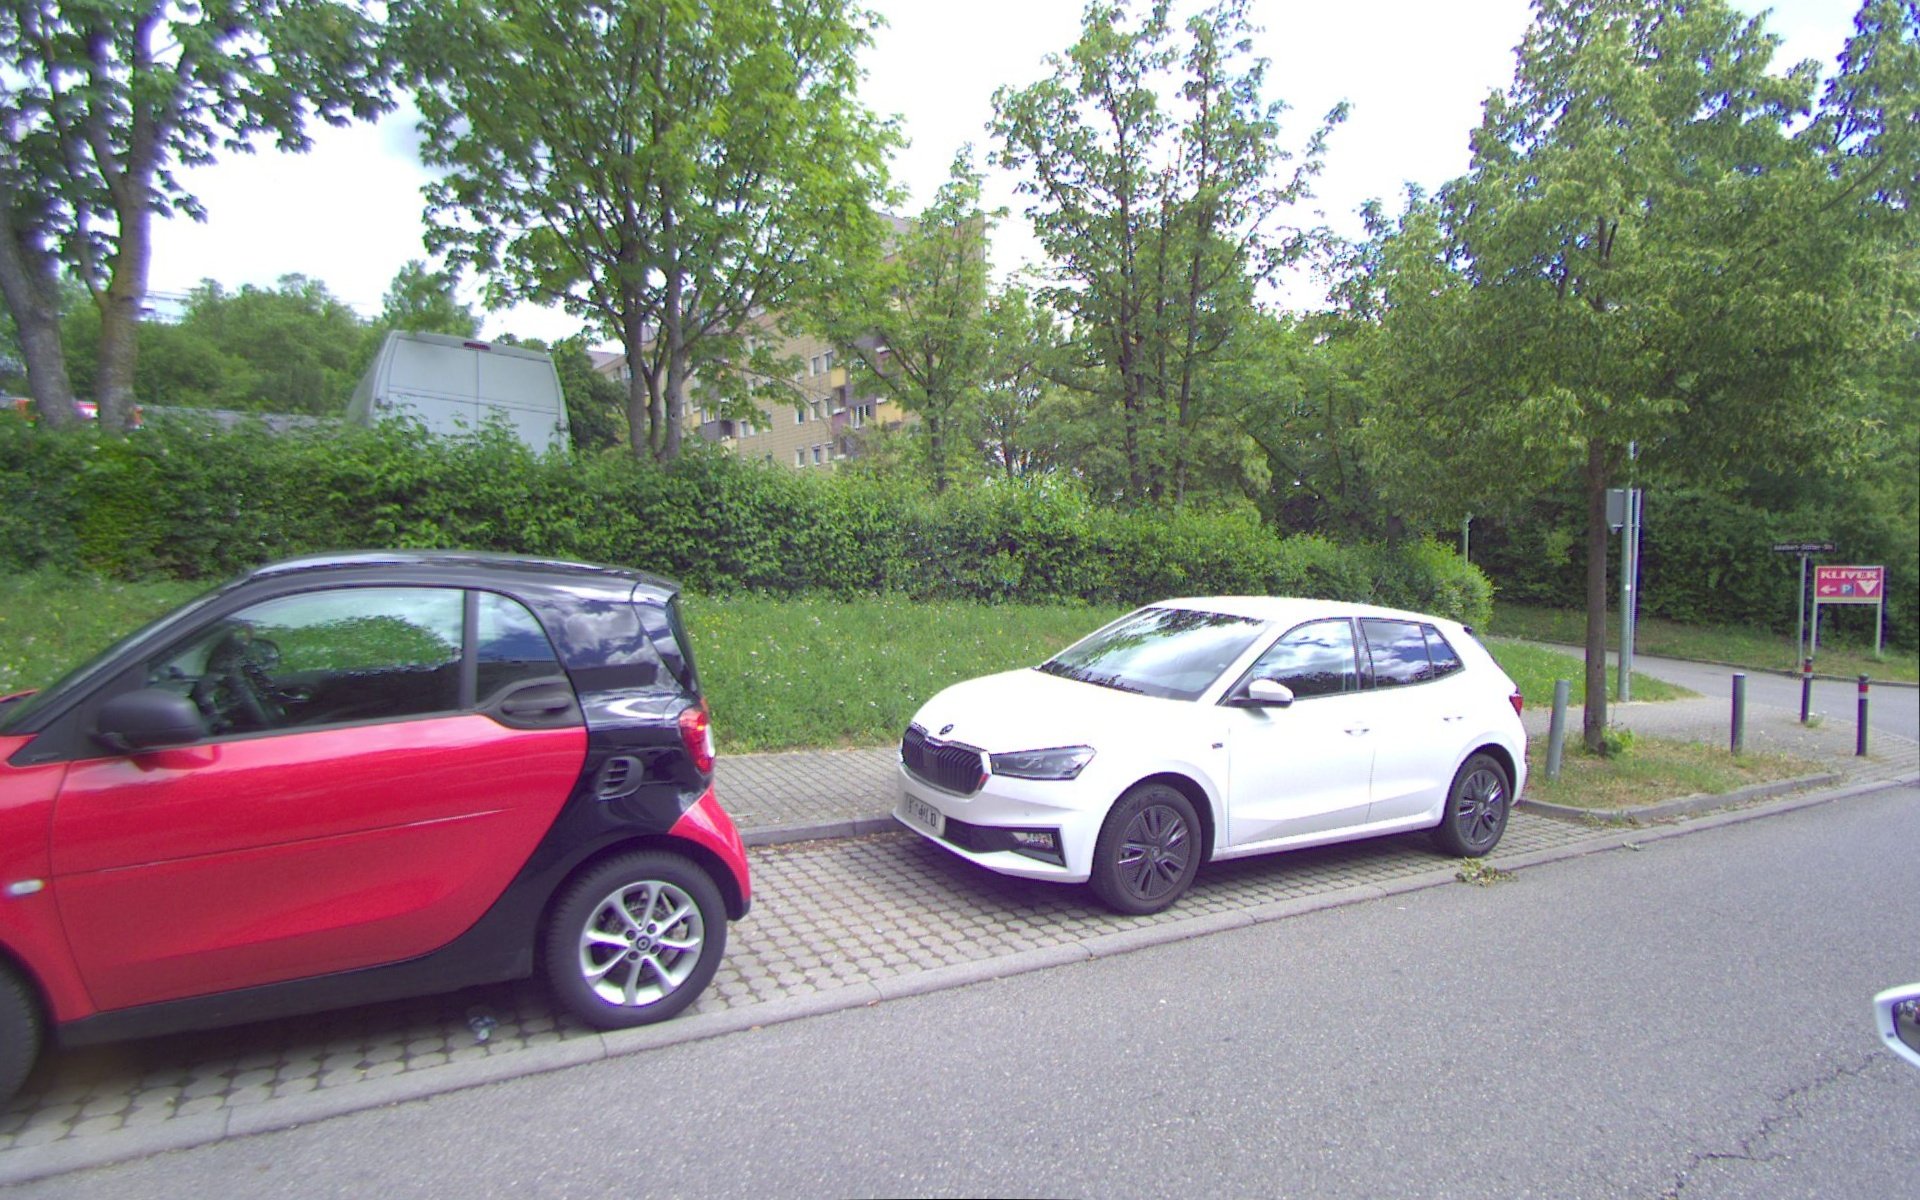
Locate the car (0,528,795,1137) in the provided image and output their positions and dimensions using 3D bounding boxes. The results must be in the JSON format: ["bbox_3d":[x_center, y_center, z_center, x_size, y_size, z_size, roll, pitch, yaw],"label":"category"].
[{"bbox_3d":[-2.125,0.570,3.520,2.680,1.526,1.522,1,2,-29],"label":"car"}]

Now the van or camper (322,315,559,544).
[{"bbox_3d":[-6.500,-1.778,12.253,1.980,2.114,4.822,-1,3,-35],"label":"van or camper"}]

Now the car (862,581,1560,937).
[{"bbox_3d":[1.568,0.688,5.913,3.923,1.456,1.666,1,2,-31],"label":"car"}]
